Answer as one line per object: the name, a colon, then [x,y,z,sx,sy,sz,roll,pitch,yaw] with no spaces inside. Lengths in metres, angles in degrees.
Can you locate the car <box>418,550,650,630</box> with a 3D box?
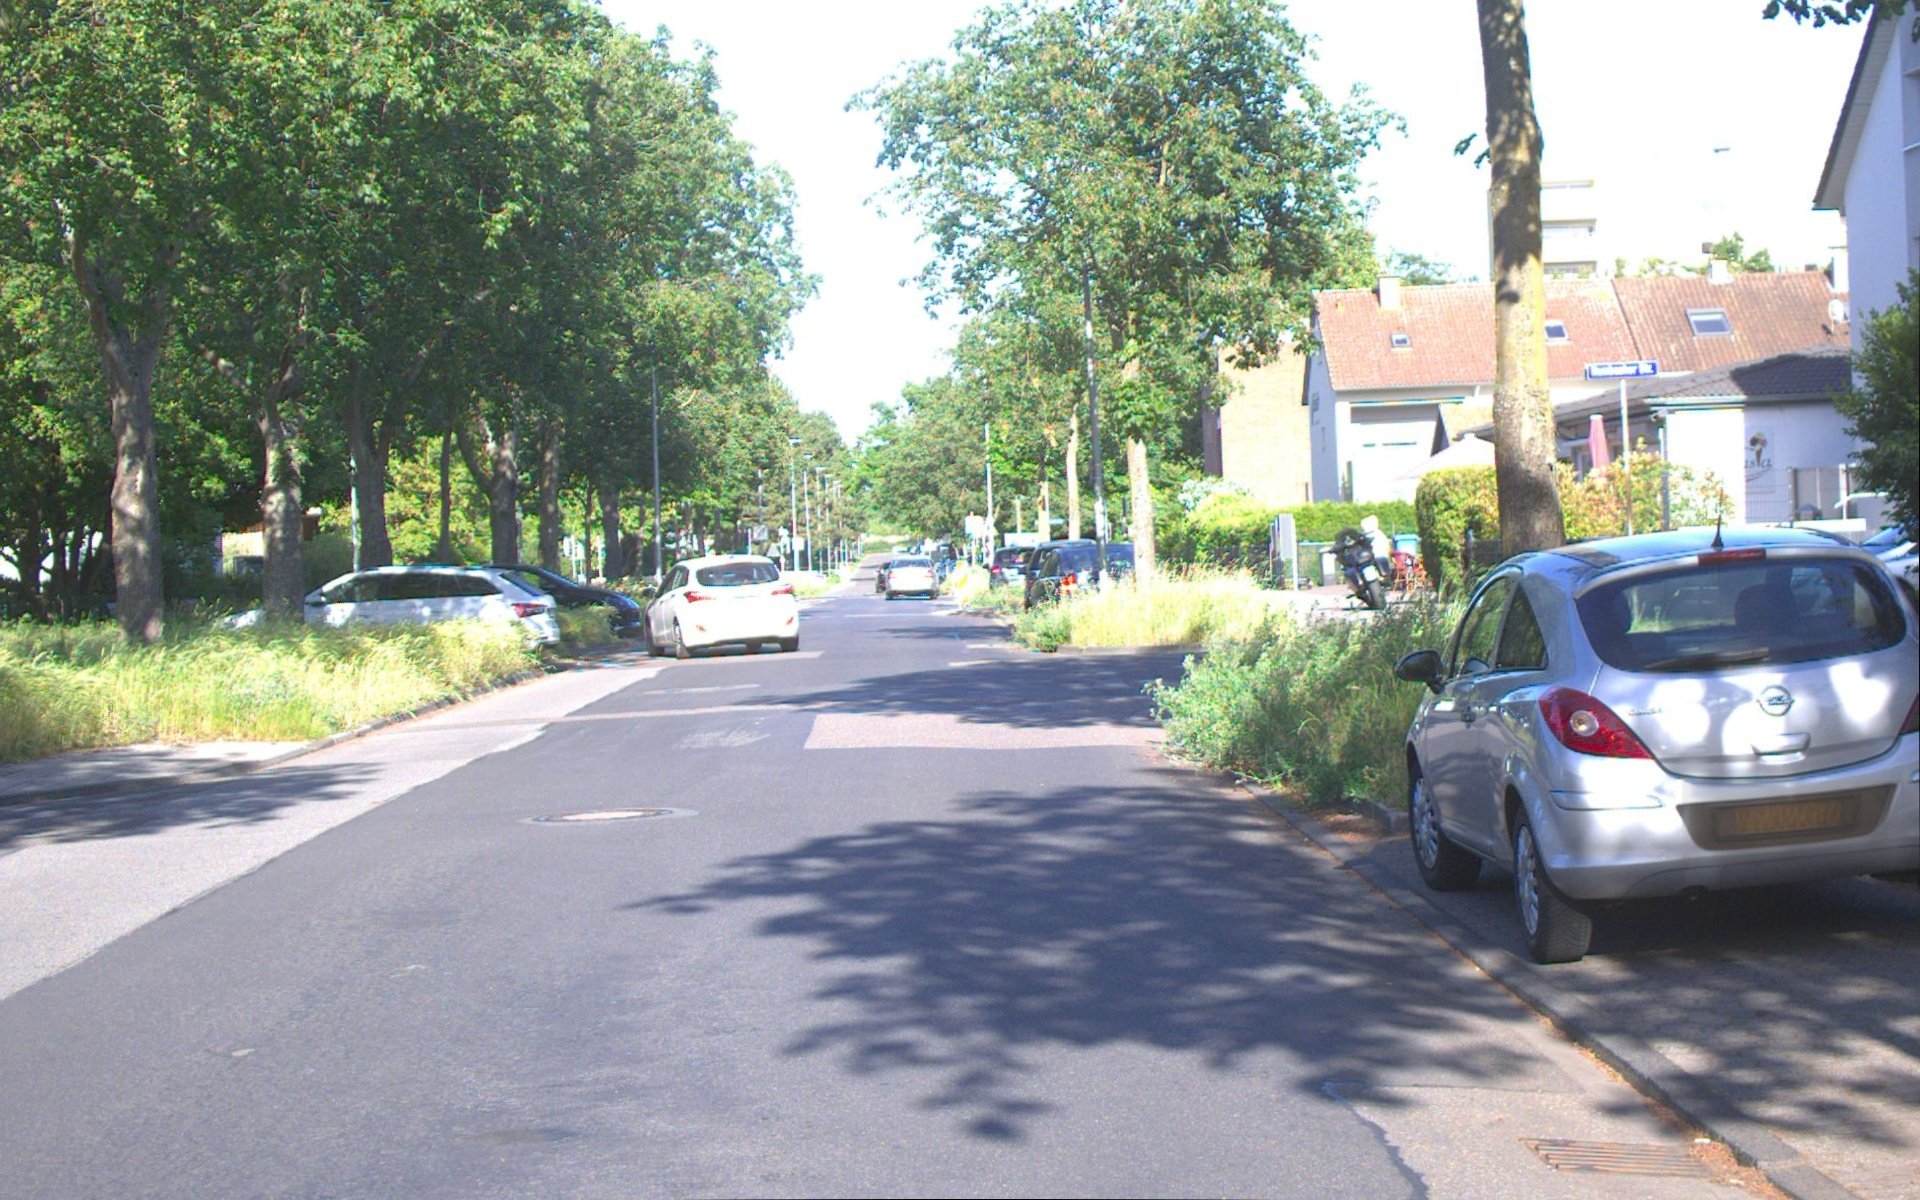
car: [-8.326,-0.199,67.462,4.367,1.526,1.808,0,0,-2]

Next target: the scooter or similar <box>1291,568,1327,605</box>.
scooter or similar: [8.176,-0.328,80.605,0.368,0.855,1.412,-1,1,-14]

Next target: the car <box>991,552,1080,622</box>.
car: [2.003,-0.353,92.662,1.993,1.722,4.000,-4,0,-3]

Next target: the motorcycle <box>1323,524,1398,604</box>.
motorcycle: [6.506,-0.596,55.981,0.818,1.223,2.352,-3,1,-1]

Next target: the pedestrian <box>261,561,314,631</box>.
pedestrian: [-17.872,-0.109,91.334,1.224,1.821,1.551,0,0,-17]

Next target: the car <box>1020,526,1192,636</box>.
car: [2.244,-0.304,54.031,1.993,1.616,4.382,1,0,-7]

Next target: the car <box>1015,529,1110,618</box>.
car: [1.932,-0.502,65.597,1.610,1.616,4.382,1,0,-1]

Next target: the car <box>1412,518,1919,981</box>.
car: [2.892,0.493,13.662,1.994,1.505,3.999,-3,0,6]

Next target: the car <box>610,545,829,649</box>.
car: [-3.678,-0.061,51.847,1.993,1.450,4.225,-2,1,-23]

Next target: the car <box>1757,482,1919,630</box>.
car: [11.542,-0.573,40.049,3.986,1.634,1.777,-2,1,-7]

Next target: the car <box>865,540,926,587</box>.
car: [-2.159,-1.209,114.864,1.993,1.503,3.658,1,0,-1]

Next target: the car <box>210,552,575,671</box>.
car: [-7.822,0.141,47.695,4.671,1.498,2.000,-2,1,1]
